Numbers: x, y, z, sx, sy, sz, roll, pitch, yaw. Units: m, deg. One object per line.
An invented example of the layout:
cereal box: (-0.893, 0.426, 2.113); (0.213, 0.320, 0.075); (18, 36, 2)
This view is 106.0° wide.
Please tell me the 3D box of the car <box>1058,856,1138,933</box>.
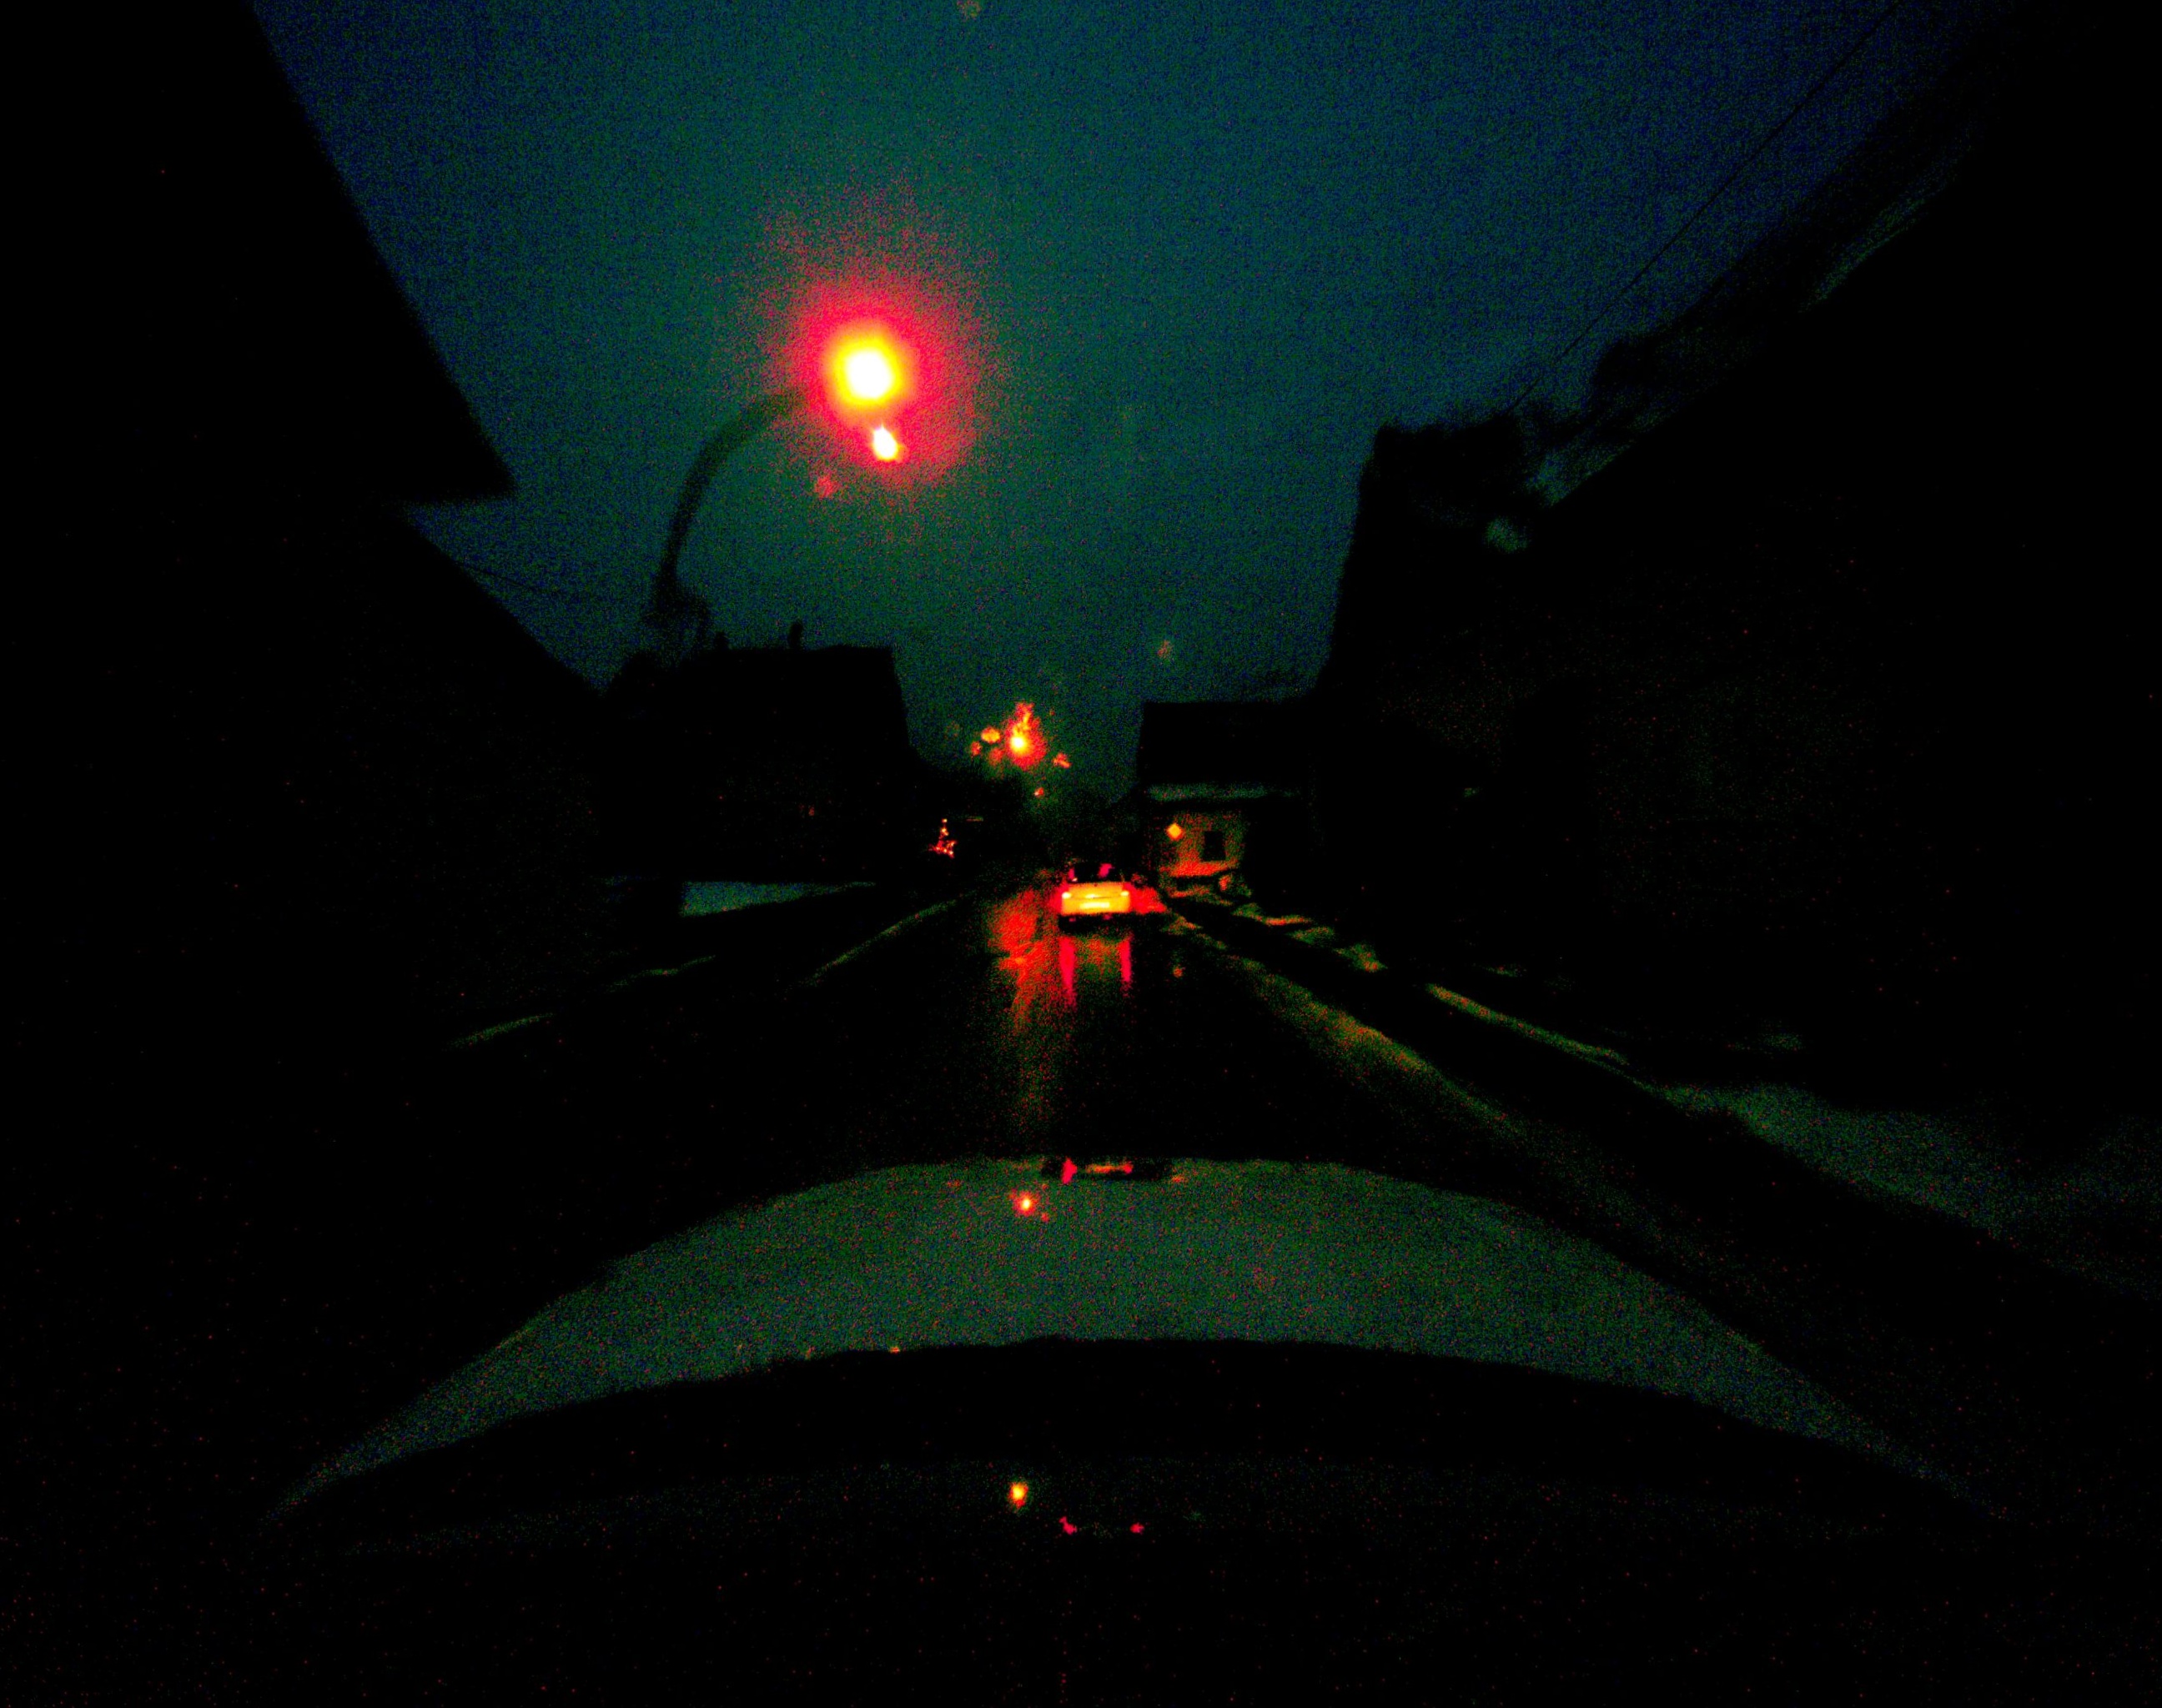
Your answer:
car: (0.311, 0.872, 18.741); (1.641, 1.596, 3.696); (0, -1, -2)

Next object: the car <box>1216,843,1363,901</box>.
car: (5.964, 0.491, 23.558); (3.735, 1.497, 1.818); (-1, 0, -5)

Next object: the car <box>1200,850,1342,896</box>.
car: (6.122, 0.580, 26.526); (4.162, 1.433, 1.898); (0, 0, -4)

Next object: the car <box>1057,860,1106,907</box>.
car: (-0.027, 1.056, 30.008); (1.641, 1.596, 3.696); (0, -1, -2)
